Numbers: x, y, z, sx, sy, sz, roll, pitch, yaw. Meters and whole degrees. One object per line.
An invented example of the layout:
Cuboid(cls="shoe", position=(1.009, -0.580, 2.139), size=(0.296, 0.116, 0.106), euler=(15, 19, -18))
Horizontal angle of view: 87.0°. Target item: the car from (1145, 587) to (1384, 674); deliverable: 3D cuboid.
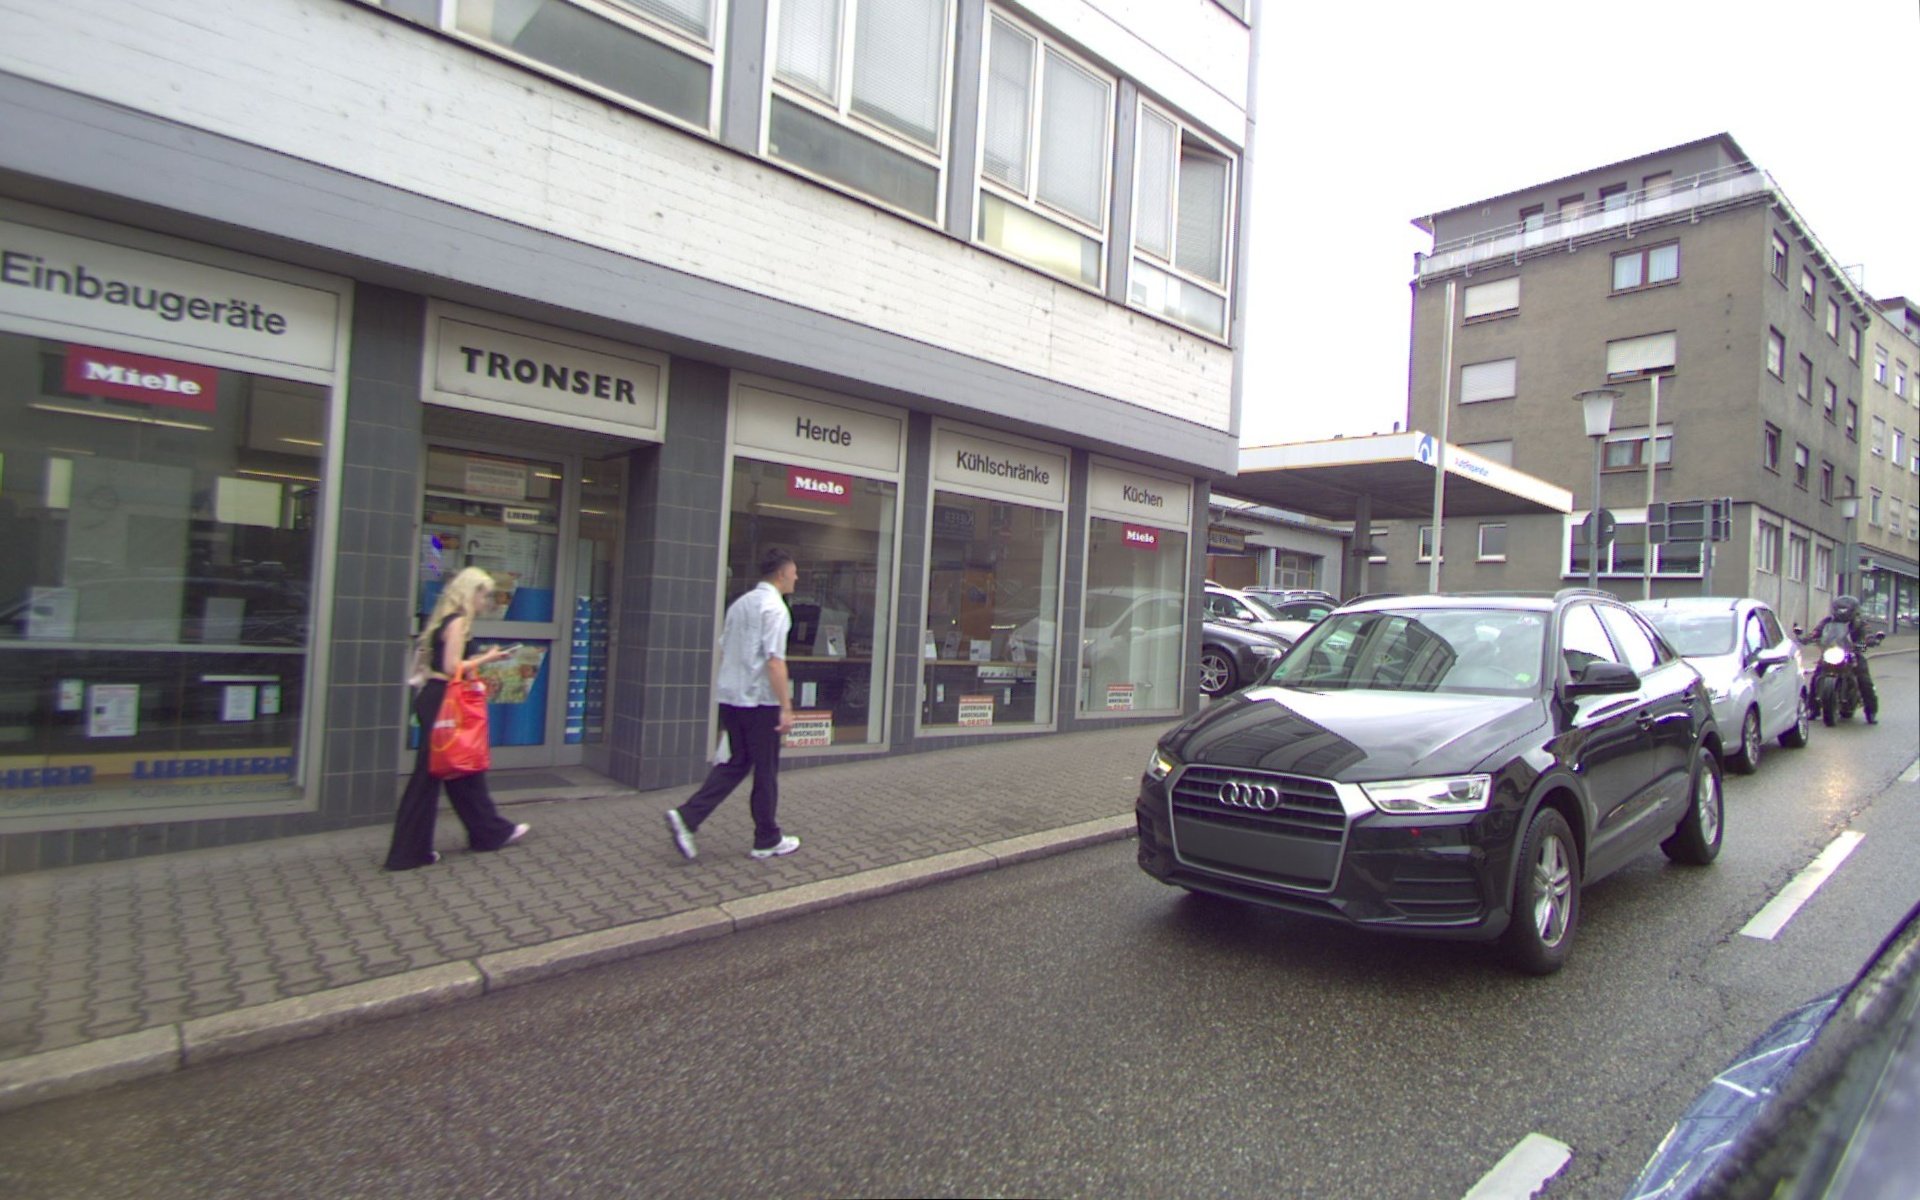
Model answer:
Cuboid(cls="car", position=(5.630, 0.492, 18.893), size=(3.975, 1.418, 1.650), euler=(1, 1, 36))

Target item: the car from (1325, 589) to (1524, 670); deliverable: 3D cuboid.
Cuboid(cls="car", position=(9.500, 0.528, 20.560), size=(4.531, 1.433, 1.793), euler=(0, 2, -38))

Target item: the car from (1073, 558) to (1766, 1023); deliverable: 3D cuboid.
Cuboid(cls="car", position=(2.708, 0.671, 5.501), size=(4.127, 1.580, 1.826), euler=(0, -2, -40))

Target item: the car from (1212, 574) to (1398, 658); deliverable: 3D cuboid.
Cuboid(cls="car", position=(7.703, 0.360, 22.404), size=(4.411, 1.563, 1.793), euler=(2, 3, -40))

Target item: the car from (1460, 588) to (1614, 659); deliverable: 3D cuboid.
Cuboid(cls="car", position=(13.874, 0.507, 24.239), size=(4.358, 1.531, 1.792), euler=(0, 1, -40))

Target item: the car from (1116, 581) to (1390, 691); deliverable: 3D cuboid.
Cuboid(cls="car", position=(4.743, 0.498, 16.546), size=(3.973, 1.549, 1.742), euler=(1, 1, 34))

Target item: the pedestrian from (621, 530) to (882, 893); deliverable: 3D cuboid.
Cuboid(cls="pedestrian", position=(-1.122, 0.514, 5.490), size=(1.102, 1.726, 0.785), euler=(0, 4, -44))

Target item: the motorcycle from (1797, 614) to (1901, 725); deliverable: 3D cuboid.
Cuboid(cls="motorcycle", position=(11.271, 0.821, 12.796), size=(0.844, 1.241, 2.335), euler=(-3, -2, 44))

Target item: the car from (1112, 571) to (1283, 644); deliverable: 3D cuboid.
Cuboid(cls="car", position=(5.806, 0.148, 24.452), size=(4.340, 1.620, 1.792), euler=(0, 1, -40))

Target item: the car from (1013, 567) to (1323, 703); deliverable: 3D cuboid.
Cuboid(cls="car", position=(2.956, 0.403, 14.637), size=(3.973, 1.468, 1.778), euler=(5, 3, 33))

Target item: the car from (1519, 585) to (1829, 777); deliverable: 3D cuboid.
Cuboid(cls="car", position=(7.447, 0.693, 10.388), size=(4.182, 1.561, 1.827), euler=(0, -2, -44))

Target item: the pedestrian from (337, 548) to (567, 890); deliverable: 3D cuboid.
Cuboid(cls="pedestrian", position=(-2.644, 0.536, 5.266), size=(0.876, 1.569, 0.766), euler=(0, 4, -44))

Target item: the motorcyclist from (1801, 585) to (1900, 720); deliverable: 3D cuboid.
Cuboid(cls="motorcyclist", position=(11.211, 0.638, 12.745), size=(0.844, 1.610, 0.947), euler=(-3, -2, 44))

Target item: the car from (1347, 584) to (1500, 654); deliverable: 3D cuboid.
Cuboid(cls="car", position=(11.927, 0.501, 25.911), size=(4.340, 1.530, 1.793), euler=(2, 3, -40))

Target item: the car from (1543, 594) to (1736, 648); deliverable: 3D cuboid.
Cuboid(cls="car", position=(20.811, 0.613, 31.162), size=(1.963, 1.523, 4.534), euler=(0, -1, -36))
